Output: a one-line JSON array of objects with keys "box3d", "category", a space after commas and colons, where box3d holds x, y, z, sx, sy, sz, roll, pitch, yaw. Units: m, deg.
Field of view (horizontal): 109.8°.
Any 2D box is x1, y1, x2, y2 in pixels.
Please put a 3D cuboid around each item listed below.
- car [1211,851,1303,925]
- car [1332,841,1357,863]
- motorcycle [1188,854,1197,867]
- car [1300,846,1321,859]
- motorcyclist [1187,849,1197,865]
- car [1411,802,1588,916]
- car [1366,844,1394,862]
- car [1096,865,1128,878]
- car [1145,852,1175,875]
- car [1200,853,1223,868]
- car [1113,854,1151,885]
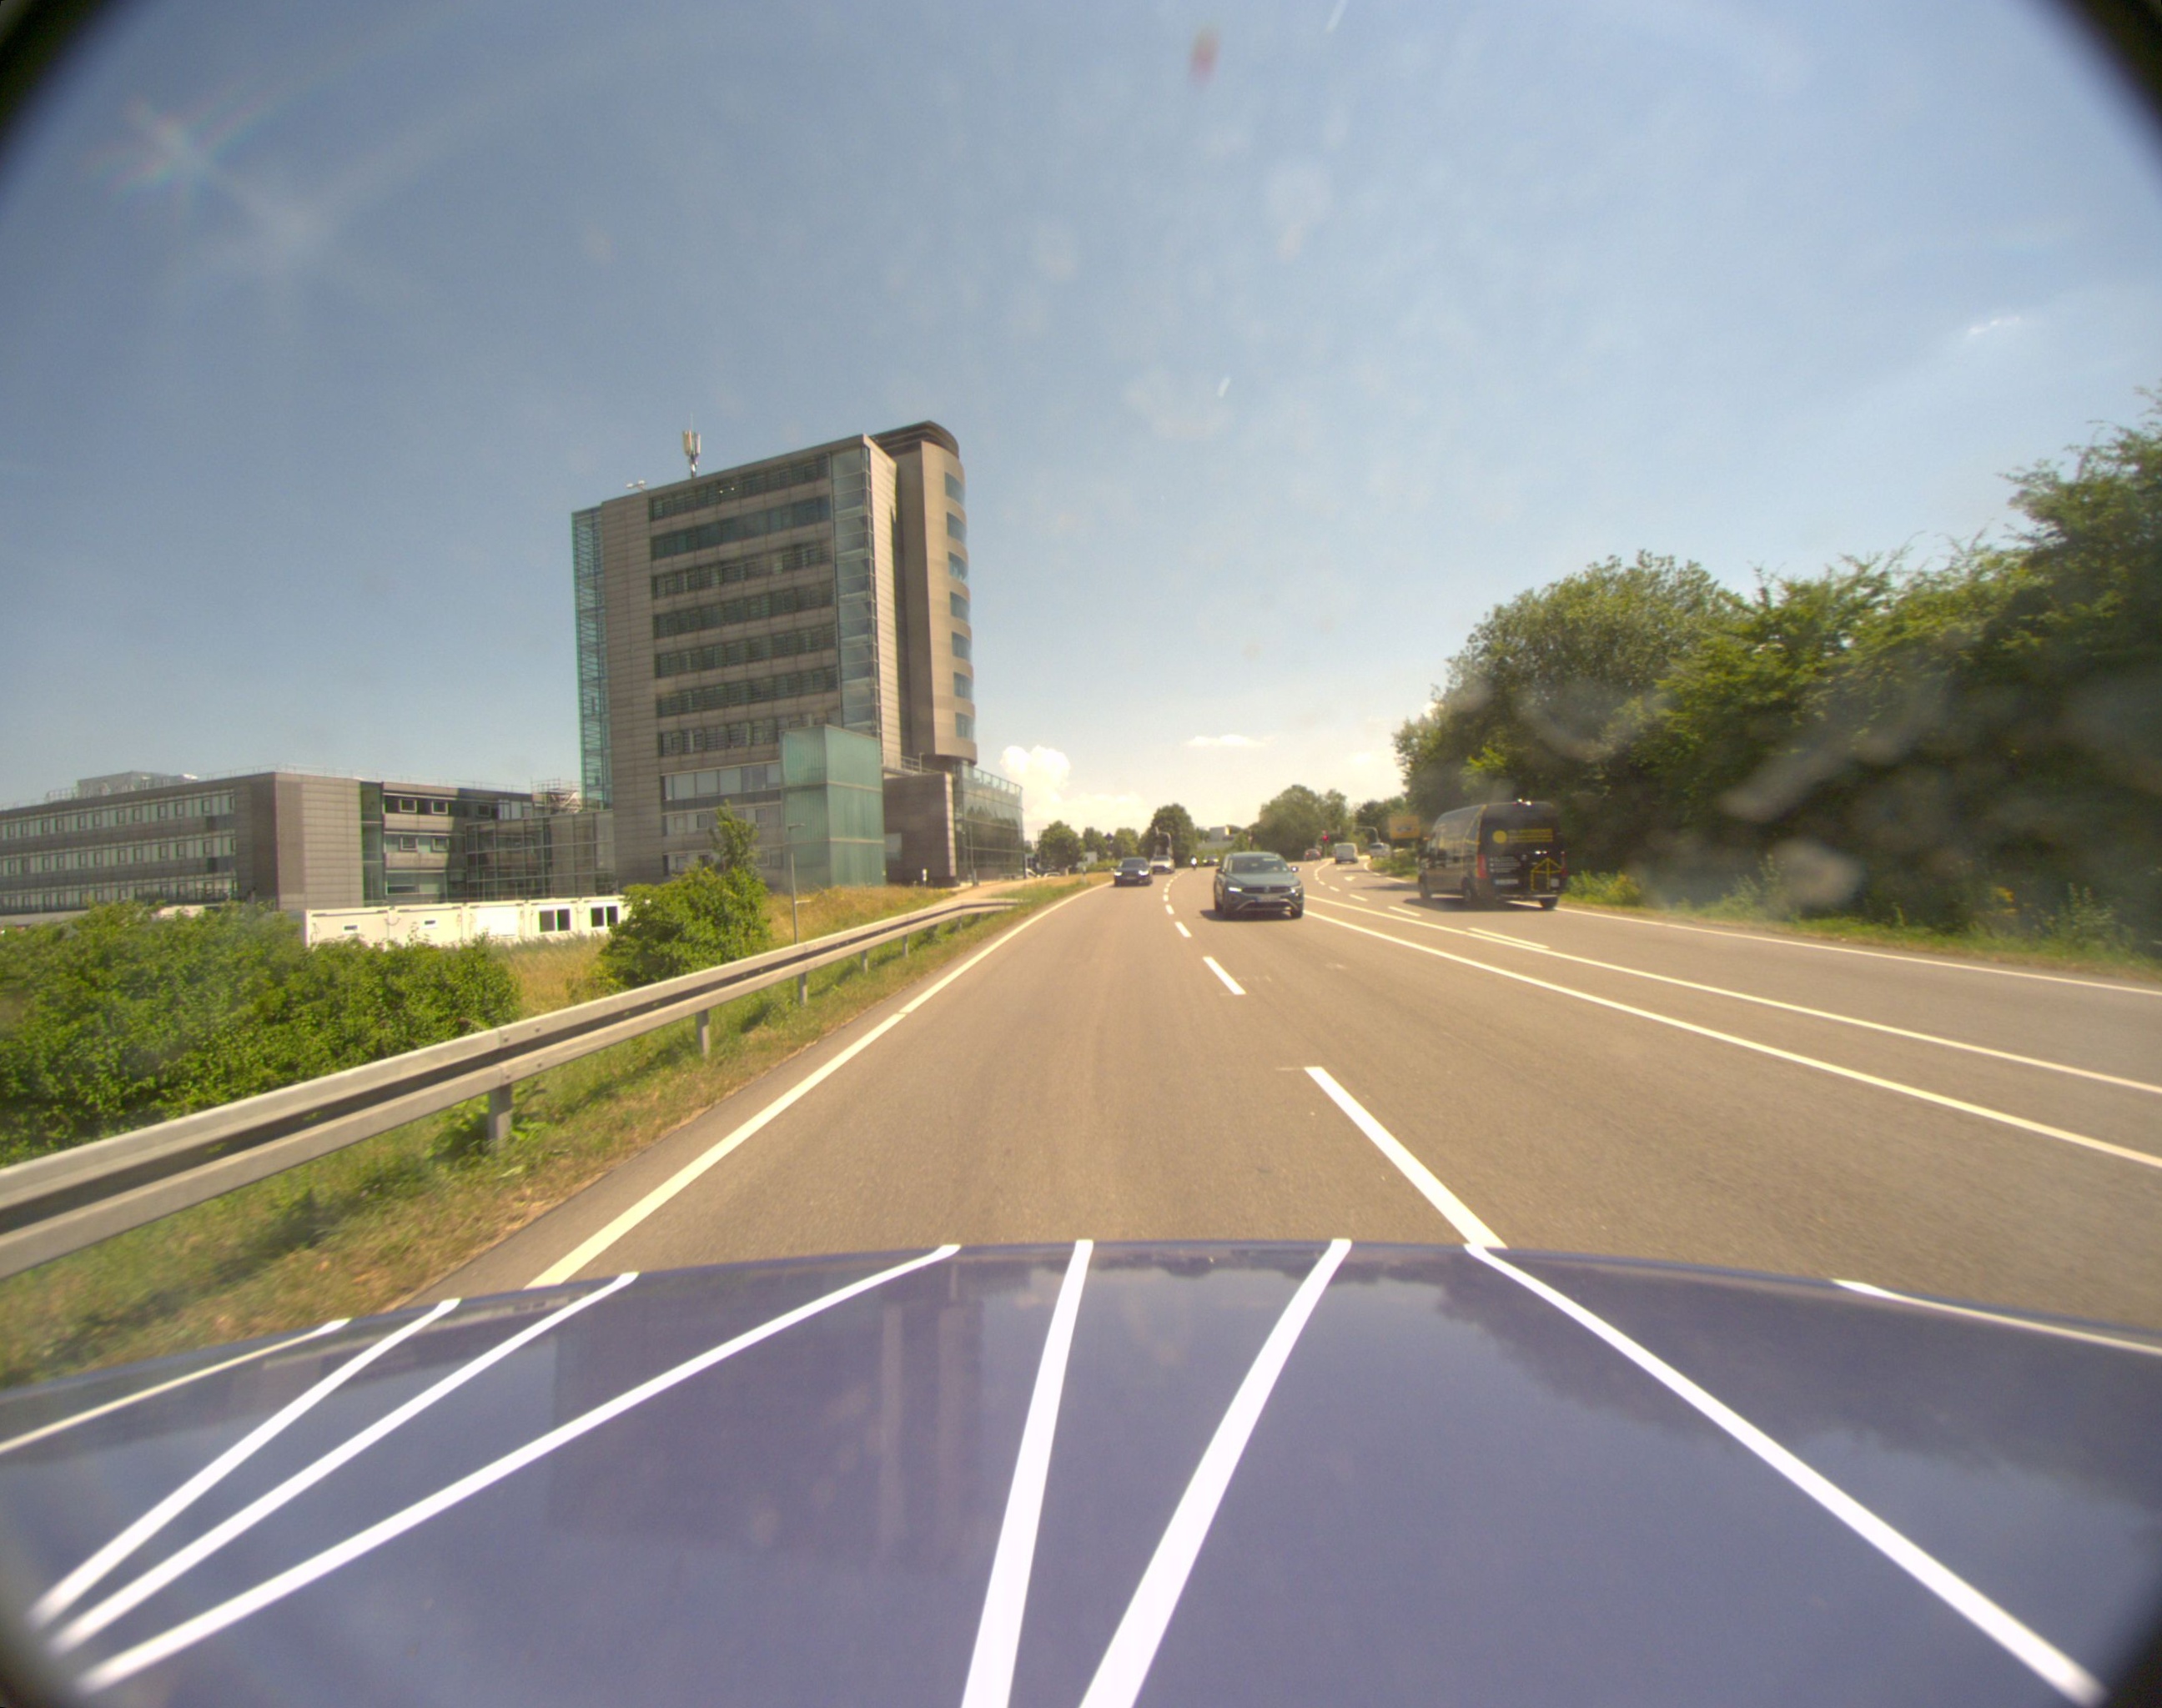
[{"box3d": [4.243, 0.756, 18.893, 1.838, 1.577, 4.394, -2, 0, 8], "category": "car"}, {"box3d": [25.887, -0.203, 74.531, 2.078, 2.002, 5.815, -2, 0, 21], "category": "car"}, {"box3d": [10.183, 0.598, 69.452, 0.733, 1.131, 2.074, 0, 0, 9], "category": "motorcycle"}, {"box3d": [29.036, -0.123, 96.253, 1.997, 1.430, 4.226, -4, -2, 9], "category": "car"}, {"box3d": [10.137, 0.262, 69.232, 0.860, 1.479, 1.163, -1, 0, 9], "category": "motorcyclist"}, {"box3d": [10.853, 0.105, 20.381, 2.192, 2.526, 6.041, -2, 0, 9], "category": "car"}, {"box3d": [36.681, -0.142, 93.070, 1.975, 2.001, 4.850, -5, -2, 35], "category": "car"}, {"box3d": [4.634, 2.698, 114.166, 4.352, 1.589, 1.938, -4, -2, -7], "category": "car"}, {"box3d": [6.322, 0.757, 60.282, 1.932, 1.576, 4.183, -4, -2, 10], "category": "car"}, {"box3d": [15.725, 0.747, 91.418, 2.115, 1.582, 4.455, -2, 0, 16], "category": "car"}, {"box3d": [2.726, 0.799, 39.828, 1.779, 1.497, 4.563, -1, 0, 6], "category": "car"}]
